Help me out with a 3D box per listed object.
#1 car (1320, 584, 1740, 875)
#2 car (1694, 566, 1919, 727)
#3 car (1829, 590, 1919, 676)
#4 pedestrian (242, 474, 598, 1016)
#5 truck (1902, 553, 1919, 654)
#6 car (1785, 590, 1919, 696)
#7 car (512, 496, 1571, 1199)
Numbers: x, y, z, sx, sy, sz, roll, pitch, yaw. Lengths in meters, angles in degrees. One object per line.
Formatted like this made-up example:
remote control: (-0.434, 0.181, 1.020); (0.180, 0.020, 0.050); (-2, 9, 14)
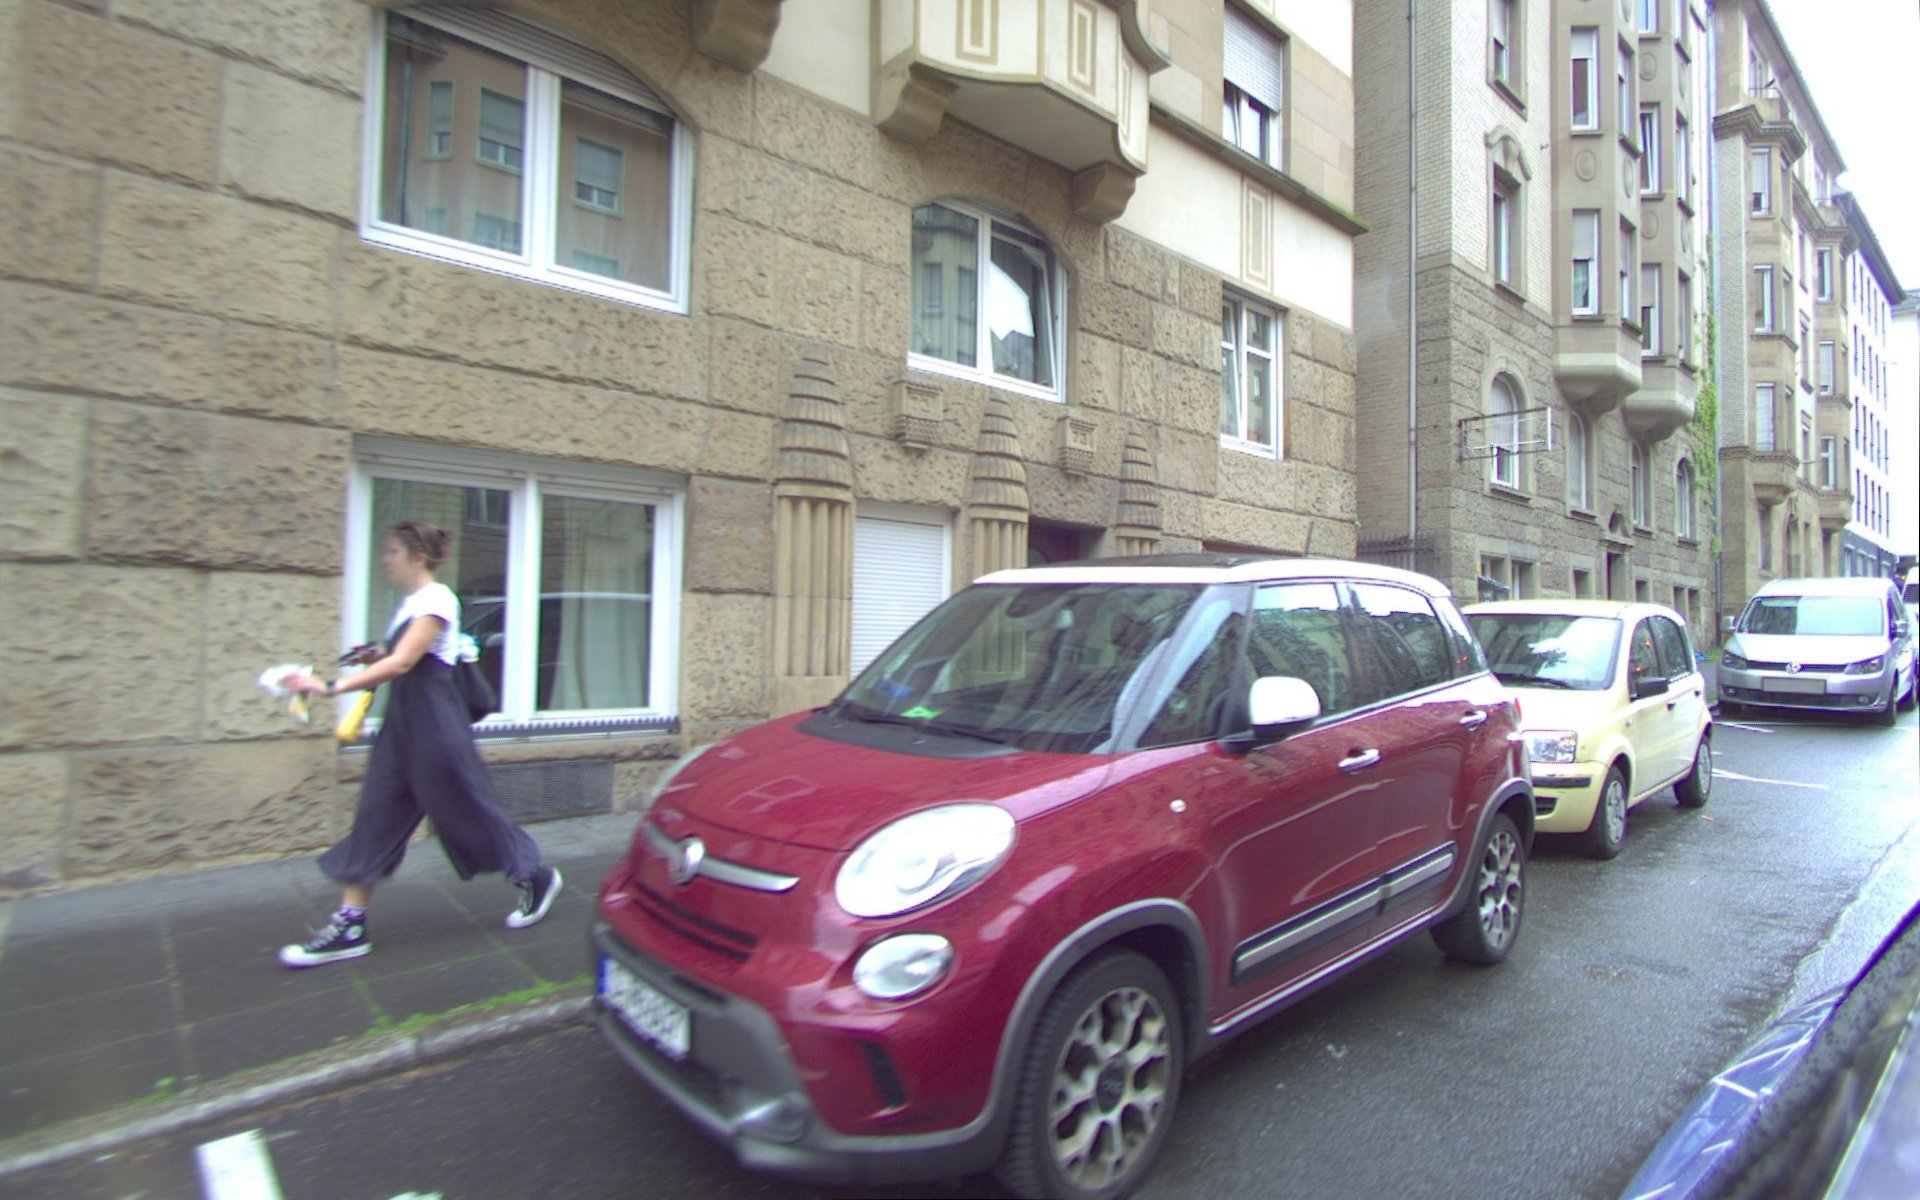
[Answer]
car: (4.168, 0.698, 7.184); (3.517, 1.549, 1.578); (0, -1, -43)
car: (11.740, 0.534, 13.692); (4.380, 1.825, 1.966); (0, -1, -41)
car: (18.462, 0.591, 19.613); (3.860, 1.549, 1.889); (0, -1, -41)
pedestrian: (-2.093, 0.465, 3.944); (1.092, 1.770, 0.743); (0, 0, -41)
truck: (27.158, 0.079, 27.040); (6.035, 2.568, 2.234); (0, -1, -41)
car: (15.152, 0.638, 16.678); (3.934, 1.549, 1.994); (0, -1, -45)
car: (0.643, 0.629, 3.828); (3.932, 1.619, 1.804); (0, -1, -42)
